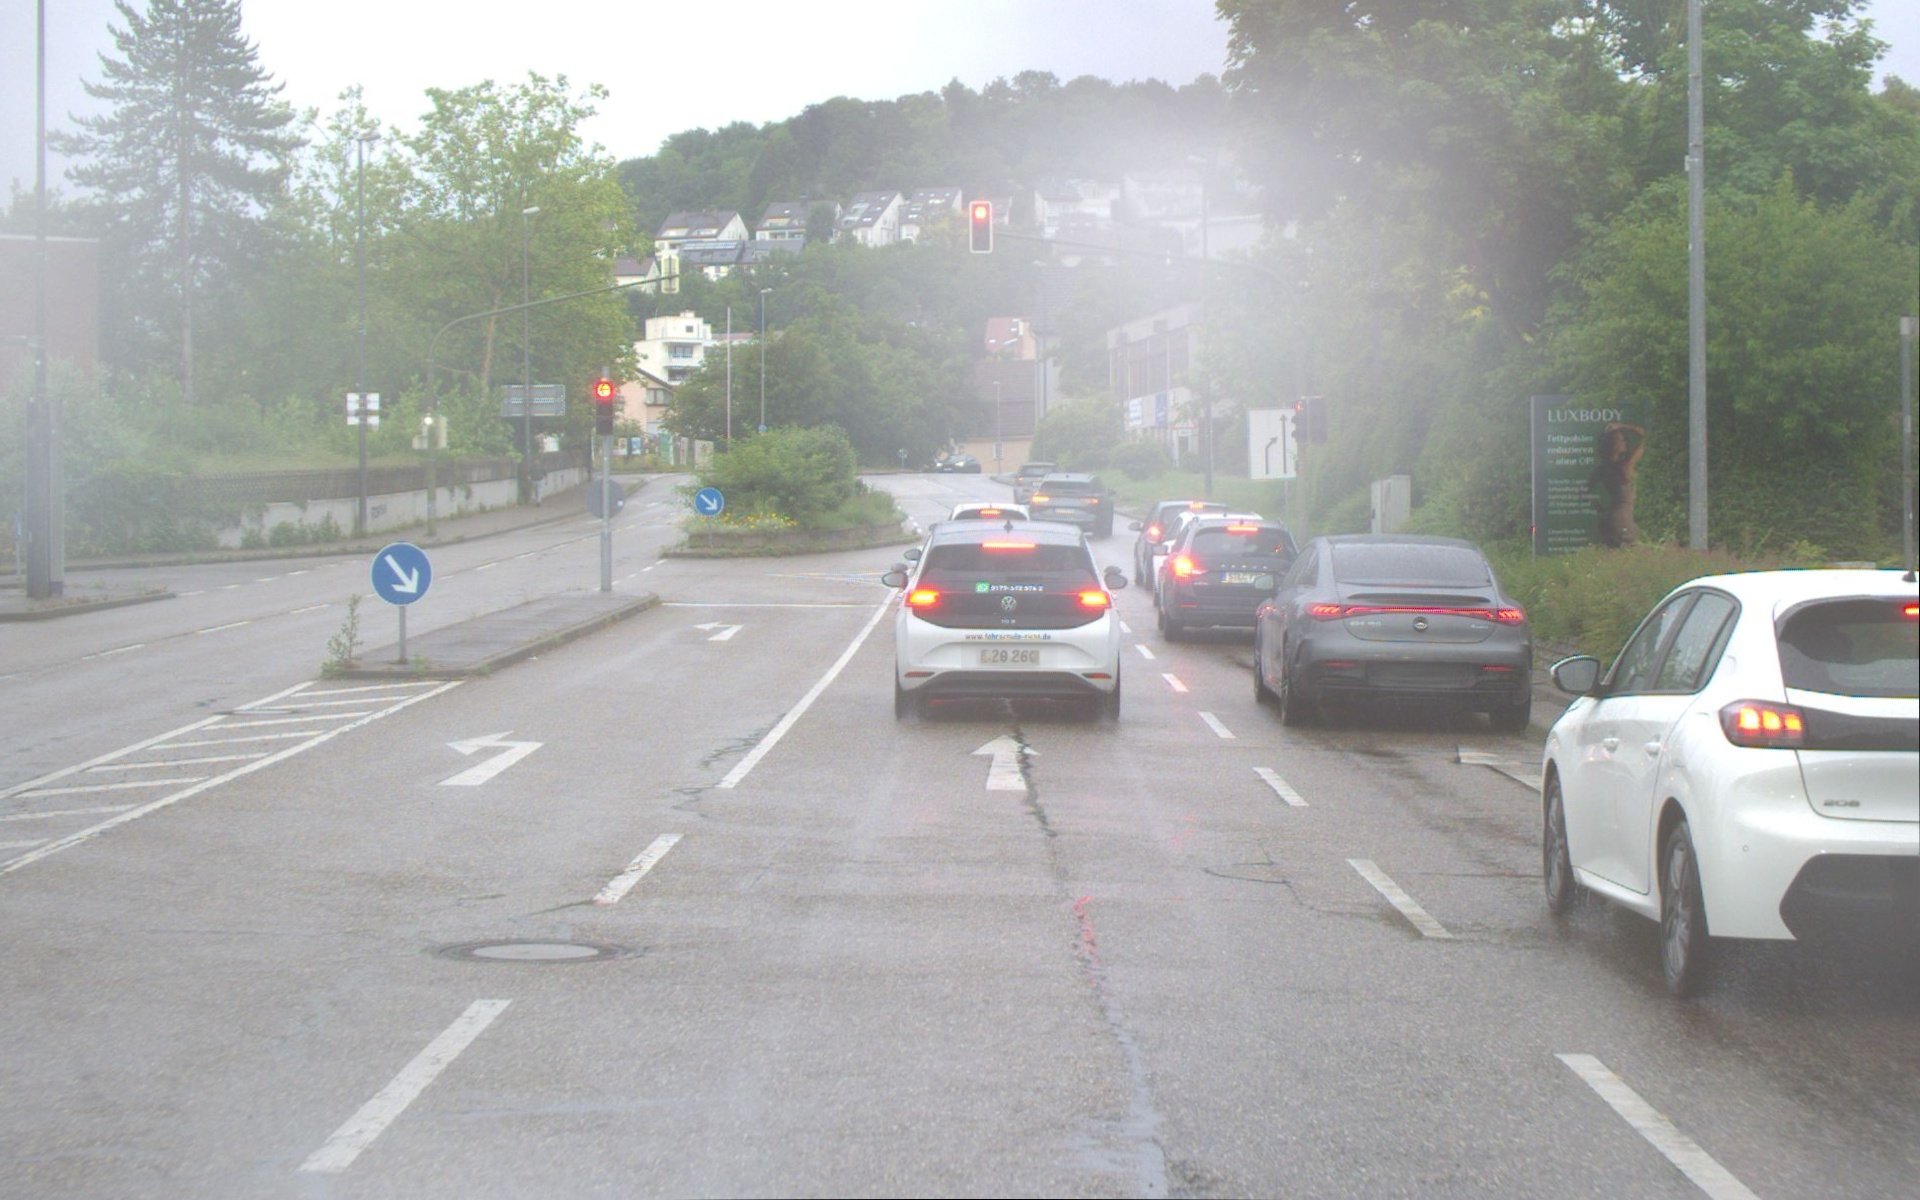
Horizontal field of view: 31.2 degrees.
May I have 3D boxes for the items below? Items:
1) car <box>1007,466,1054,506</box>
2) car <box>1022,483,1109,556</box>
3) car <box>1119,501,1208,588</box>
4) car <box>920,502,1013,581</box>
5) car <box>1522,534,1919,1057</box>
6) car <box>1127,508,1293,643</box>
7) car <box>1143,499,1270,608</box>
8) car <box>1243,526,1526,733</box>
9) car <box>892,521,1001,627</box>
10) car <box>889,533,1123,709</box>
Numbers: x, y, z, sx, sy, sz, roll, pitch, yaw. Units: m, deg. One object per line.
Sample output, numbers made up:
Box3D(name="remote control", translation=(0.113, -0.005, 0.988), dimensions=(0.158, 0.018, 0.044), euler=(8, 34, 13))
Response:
Box3D(name="car", translation=(2.292, -3.709, 112.523), dimensions=(1.366, 1.153, 2.427), euler=(-1, -1, -2))
Box3D(name="car", translation=(2.570, -1.958, 84.544), dimensions=(1.794, 1.564, 3.526), euler=(-1, -1, -3))
Box3D(name="car", translation=(3.431, -0.964, 58.359), dimensions=(1.315, 1.392, 3.079), euler=(-2, 2, 1))
Box3D(name="car", translation=(0.124, -0.917, 54.925), dimensions=(1.385, 1.123, 2.610), euler=(-2, -1, 2))
Box3D(name="car", translation=(3.226, 0.575, 12.707), dimensions=(1.691, 1.514, 3.934), euler=(0, 3, 1))
Box3D(name="car", translation=(2.994, -0.267, 41.720), dimensions=(1.647, 1.480, 3.366), euler=(-1, -1, -1))
Box3D(name="car", translation=(3.556, -0.644, 50.137), dimensions=(1.565, 1.393, 3.957), euler=(-2, -1, 1))
Box3D(name="car", translation=(3.316, 0.189, 27.424), dimensions=(1.734, 1.383, 3.353), euler=(1, 4, -1))
Box3D(name="car", translation=(-0.175, -0.290, 40.436), dimensions=(1.213, 1.152, 2.270), euler=(-1, -2, -1))
Box3D(name="car", translation=(0.353, 0.170, 27.647), dimensions=(1.741, 1.291, 3.334), euler=(-1, 0, 0))
